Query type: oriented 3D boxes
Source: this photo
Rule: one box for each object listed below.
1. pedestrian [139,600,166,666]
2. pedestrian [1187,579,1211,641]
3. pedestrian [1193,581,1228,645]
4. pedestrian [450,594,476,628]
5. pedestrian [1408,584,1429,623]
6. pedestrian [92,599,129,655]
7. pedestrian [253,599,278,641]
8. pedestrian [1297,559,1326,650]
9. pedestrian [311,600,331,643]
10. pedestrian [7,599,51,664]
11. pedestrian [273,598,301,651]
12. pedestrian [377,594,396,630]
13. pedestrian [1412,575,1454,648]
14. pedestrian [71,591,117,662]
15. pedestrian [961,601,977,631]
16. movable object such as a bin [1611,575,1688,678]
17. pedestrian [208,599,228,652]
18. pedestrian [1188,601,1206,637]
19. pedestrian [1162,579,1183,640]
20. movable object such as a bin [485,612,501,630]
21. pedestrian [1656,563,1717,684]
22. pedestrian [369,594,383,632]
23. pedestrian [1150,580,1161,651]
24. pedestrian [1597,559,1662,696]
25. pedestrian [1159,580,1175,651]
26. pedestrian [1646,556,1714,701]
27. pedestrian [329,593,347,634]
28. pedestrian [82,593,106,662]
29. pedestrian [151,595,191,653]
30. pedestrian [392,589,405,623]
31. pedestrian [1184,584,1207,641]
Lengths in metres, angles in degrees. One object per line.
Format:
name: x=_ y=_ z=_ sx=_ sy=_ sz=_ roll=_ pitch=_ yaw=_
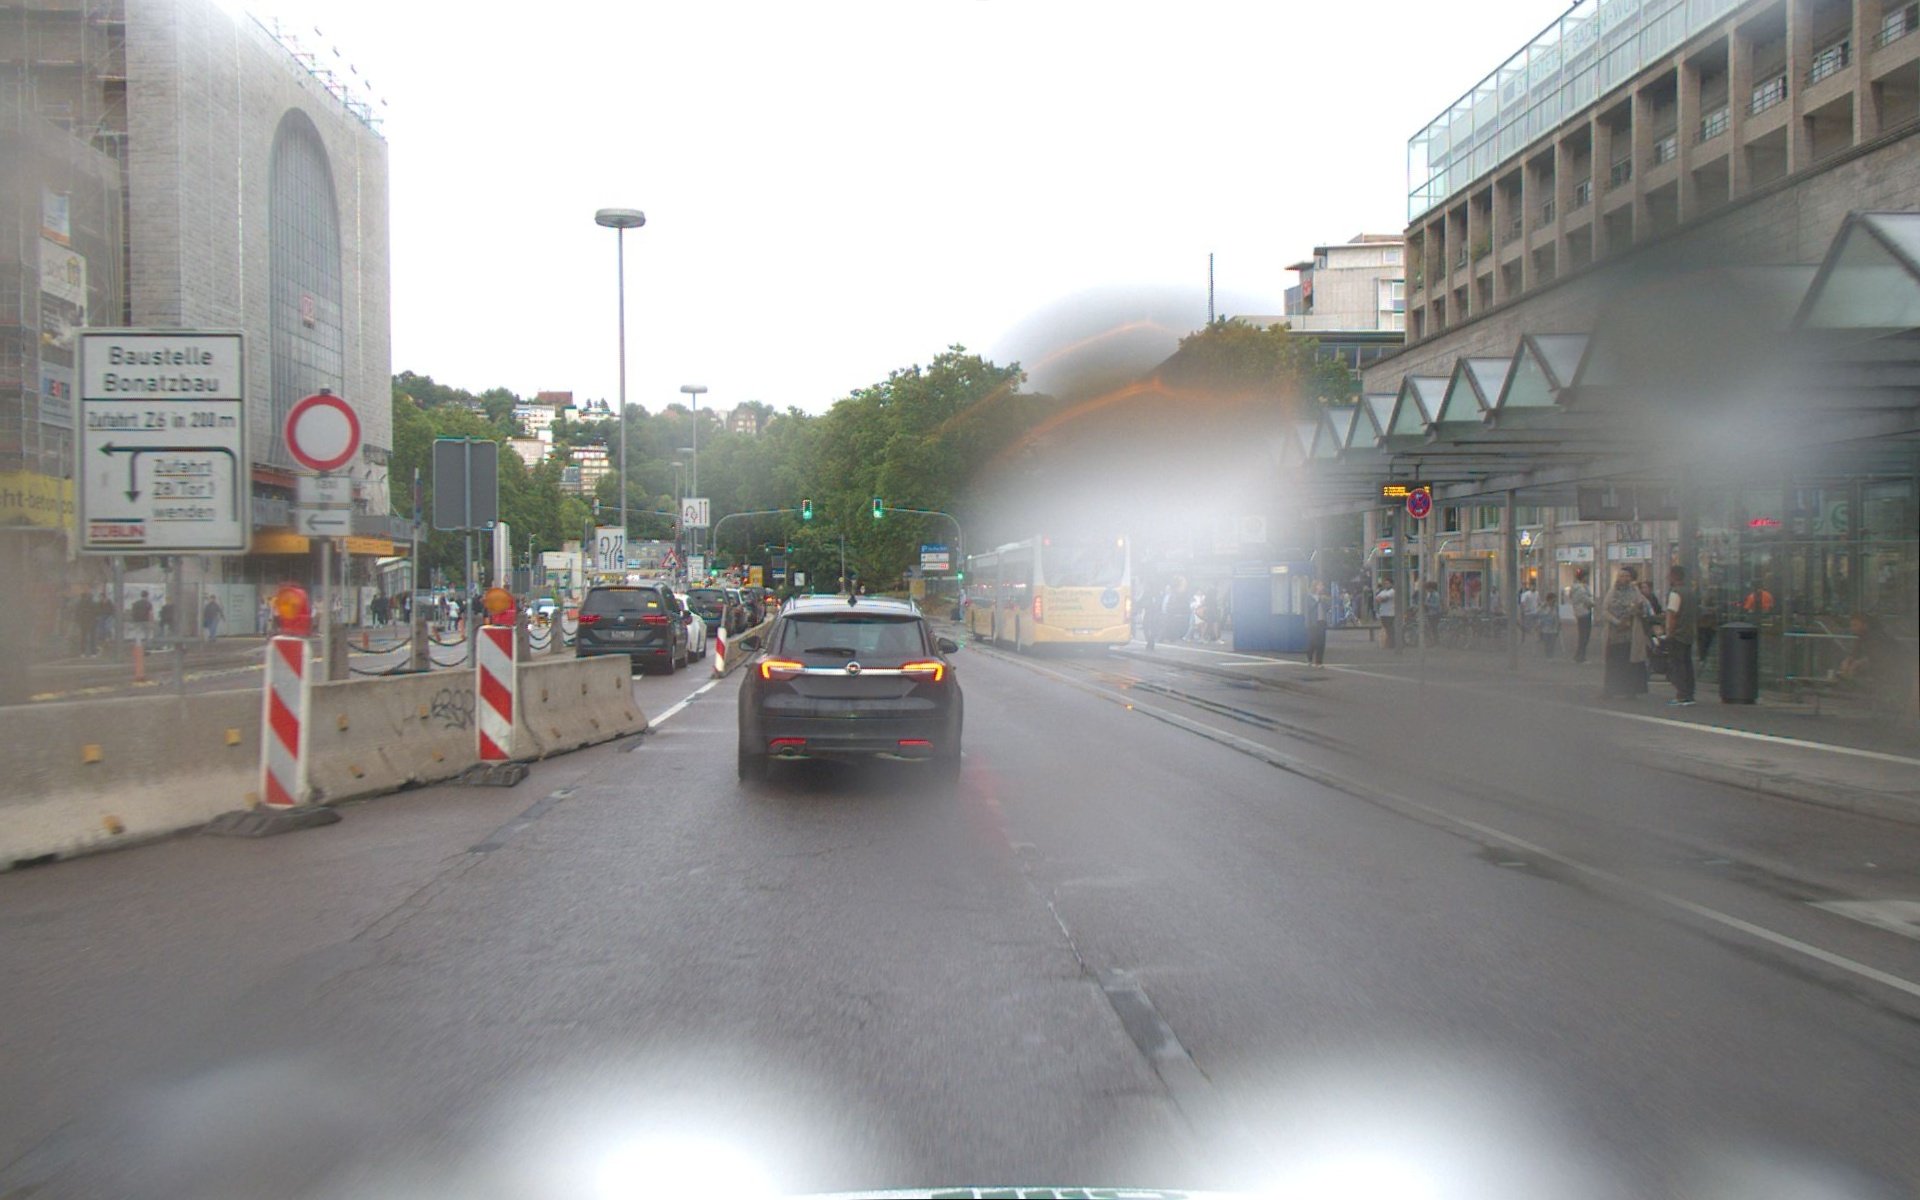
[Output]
pedestrian: x=-23.121 y=0.929 z=47.361 sx=0.498 sy=1.873 sz=0.703 roll=0 pitch=0 yaw=-10
pedestrian: x=7.196 y=0.303 z=49.861 sx=0.679 sy=1.869 sz=0.556 roll=0 pitch=0 yaw=12
pedestrian: x=7.392 y=0.380 z=48.773 sx=0.963 sy=1.869 sz=0.836 roll=0 pitch=0 yaw=12
pedestrian: x=-27.560 y=0.621 z=91.801 sx=0.962 sy=1.873 sz=1.042 roll=-1 pitch=0 yaw=16
pedestrian: x=21.590 y=0.166 z=77.848 sx=0.717 sy=1.823 sz=0.788 roll=-1 pitch=0 yaw=-5
pedestrian: x=-28.229 y=0.890 z=54.974 sx=0.786 sy=1.873 sz=0.850 roll=0 pitch=0 yaw=-1
pedestrian: x=-27.831 y=0.799 z=66.313 sx=0.663 sy=1.642 sz=0.838 roll=0 pitch=0 yaw=-2
pedestrian: x=8.823 y=0.115 z=41.563 sx=0.578 sy=2.254 sz=0.587 roll=0 pitch=0 yaw=-2
pedestrian: x=-25.722 y=0.862 z=66.580 sx=0.671 sy=1.715 sz=0.834 roll=0 pitch=0 yaw=-18
pedestrian: x=-26.920 y=0.898 z=47.837 sx=0.786 sy=1.873 sz=0.868 roll=0 pitch=0 yaw=-1
pedestrian: x=-24.005 y=0.849 z=59.026 sx=0.861 sy=1.873 sz=0.834 roll=0 pitch=0 yaw=-18
pedestrian: x=-30.621 y=0.629 z=88.289 sx=0.763 sy=1.873 sz=0.771 roll=-1 pitch=0 yaw=-5
pedestrian: x=11.245 y=0.264 z=39.343 sx=0.733 sy=1.724 sz=0.901 roll=0 pitch=0 yaw=-1
pedestrian: x=-23.406 y=0.707 z=44.722 sx=0.688 sy=1.873 sz=0.877 roll=0 pitch=0 yaw=24
pedestrian: x=0.523 y=0.916 z=95.243 sx=0.858 sy=1.720 sz=0.757 roll=-1 pitch=0 yaw=-5
movable object such as a bin: x=11.544 y=0.432 z=27.708 sx=0.655 sy=1.681 sz=1.039 roll=0 pitch=0 yaw=-27
pedestrian: x=-26.168 y=0.893 z=58.314 sx=0.561 sy=1.873 sz=0.701 roll=0 pitch=0 yaw=-18
pedestrian: x=8.452 y=0.668 z=58.983 sx=0.504 sy=1.254 sz=0.770 roll=-1 pitch=0 yaw=-2
pedestrian: x=6.500 y=0.280 z=50.593 sx=0.554 sy=1.869 sz=0.569 roll=0 pitch=0 yaw=-1
movable object such as a bin: x=-26.517 y=1.170 z=93.895 sx=0.744 sy=0.987 sz=0.720 roll=-1 pitch=0 yaw=-7
pedestrian: x=11.439 y=0.366 z=26.062 sx=0.734 sy=1.869 sz=0.762 roll=0 pitch=0 yaw=11
pedestrian: x=-28.923 y=0.640 z=81.927 sx=0.525 sy=1.873 sz=0.770 roll=0 pitch=0 yaw=-8
pedestrian: x=5.160 y=0.409 z=43.703 sx=0.238 sy=1.869 sz=0.512 roll=0 pitch=0 yaw=-1
pedestrian: x=9.225 y=0.375 z=22.807 sx=0.662 sy=1.869 sz=0.574 roll=0 pitch=0 yaw=-2
pedestrian: x=5.481 y=0.403 z=43.757 sx=0.340 sy=1.869 sz=0.533 roll=0 pitch=0 yaw=-1
pedestrian: x=9.468 y=0.367 z=21.764 sx=0.615 sy=1.869 sz=0.641 roll=0 pitch=0 yaw=-2
pedestrian: x=-28.459 y=0.611 z=75.666 sx=0.759 sy=1.873 sz=0.830 roll=0 pitch=0 yaw=-18
pedestrian: x=-23.732 y=0.738 z=45.326 sx=0.331 sy=1.873 sz=0.510 roll=0 pitch=0 yaw=11
pedestrian: x=-26.005 y=0.787 z=54.507 sx=0.822 sy=1.873 sz=1.058 roll=0 pitch=0 yaw=-1
pedestrian: x=-31.801 y=0.336 z=93.713 sx=0.664 sy=1.873 sz=0.717 roll=0 pitch=0 yaw=-18
pedestrian: x=7.209 y=0.375 z=50.660 sx=0.597 sy=1.753 sz=0.592 roll=0 pitch=0 yaw=0
